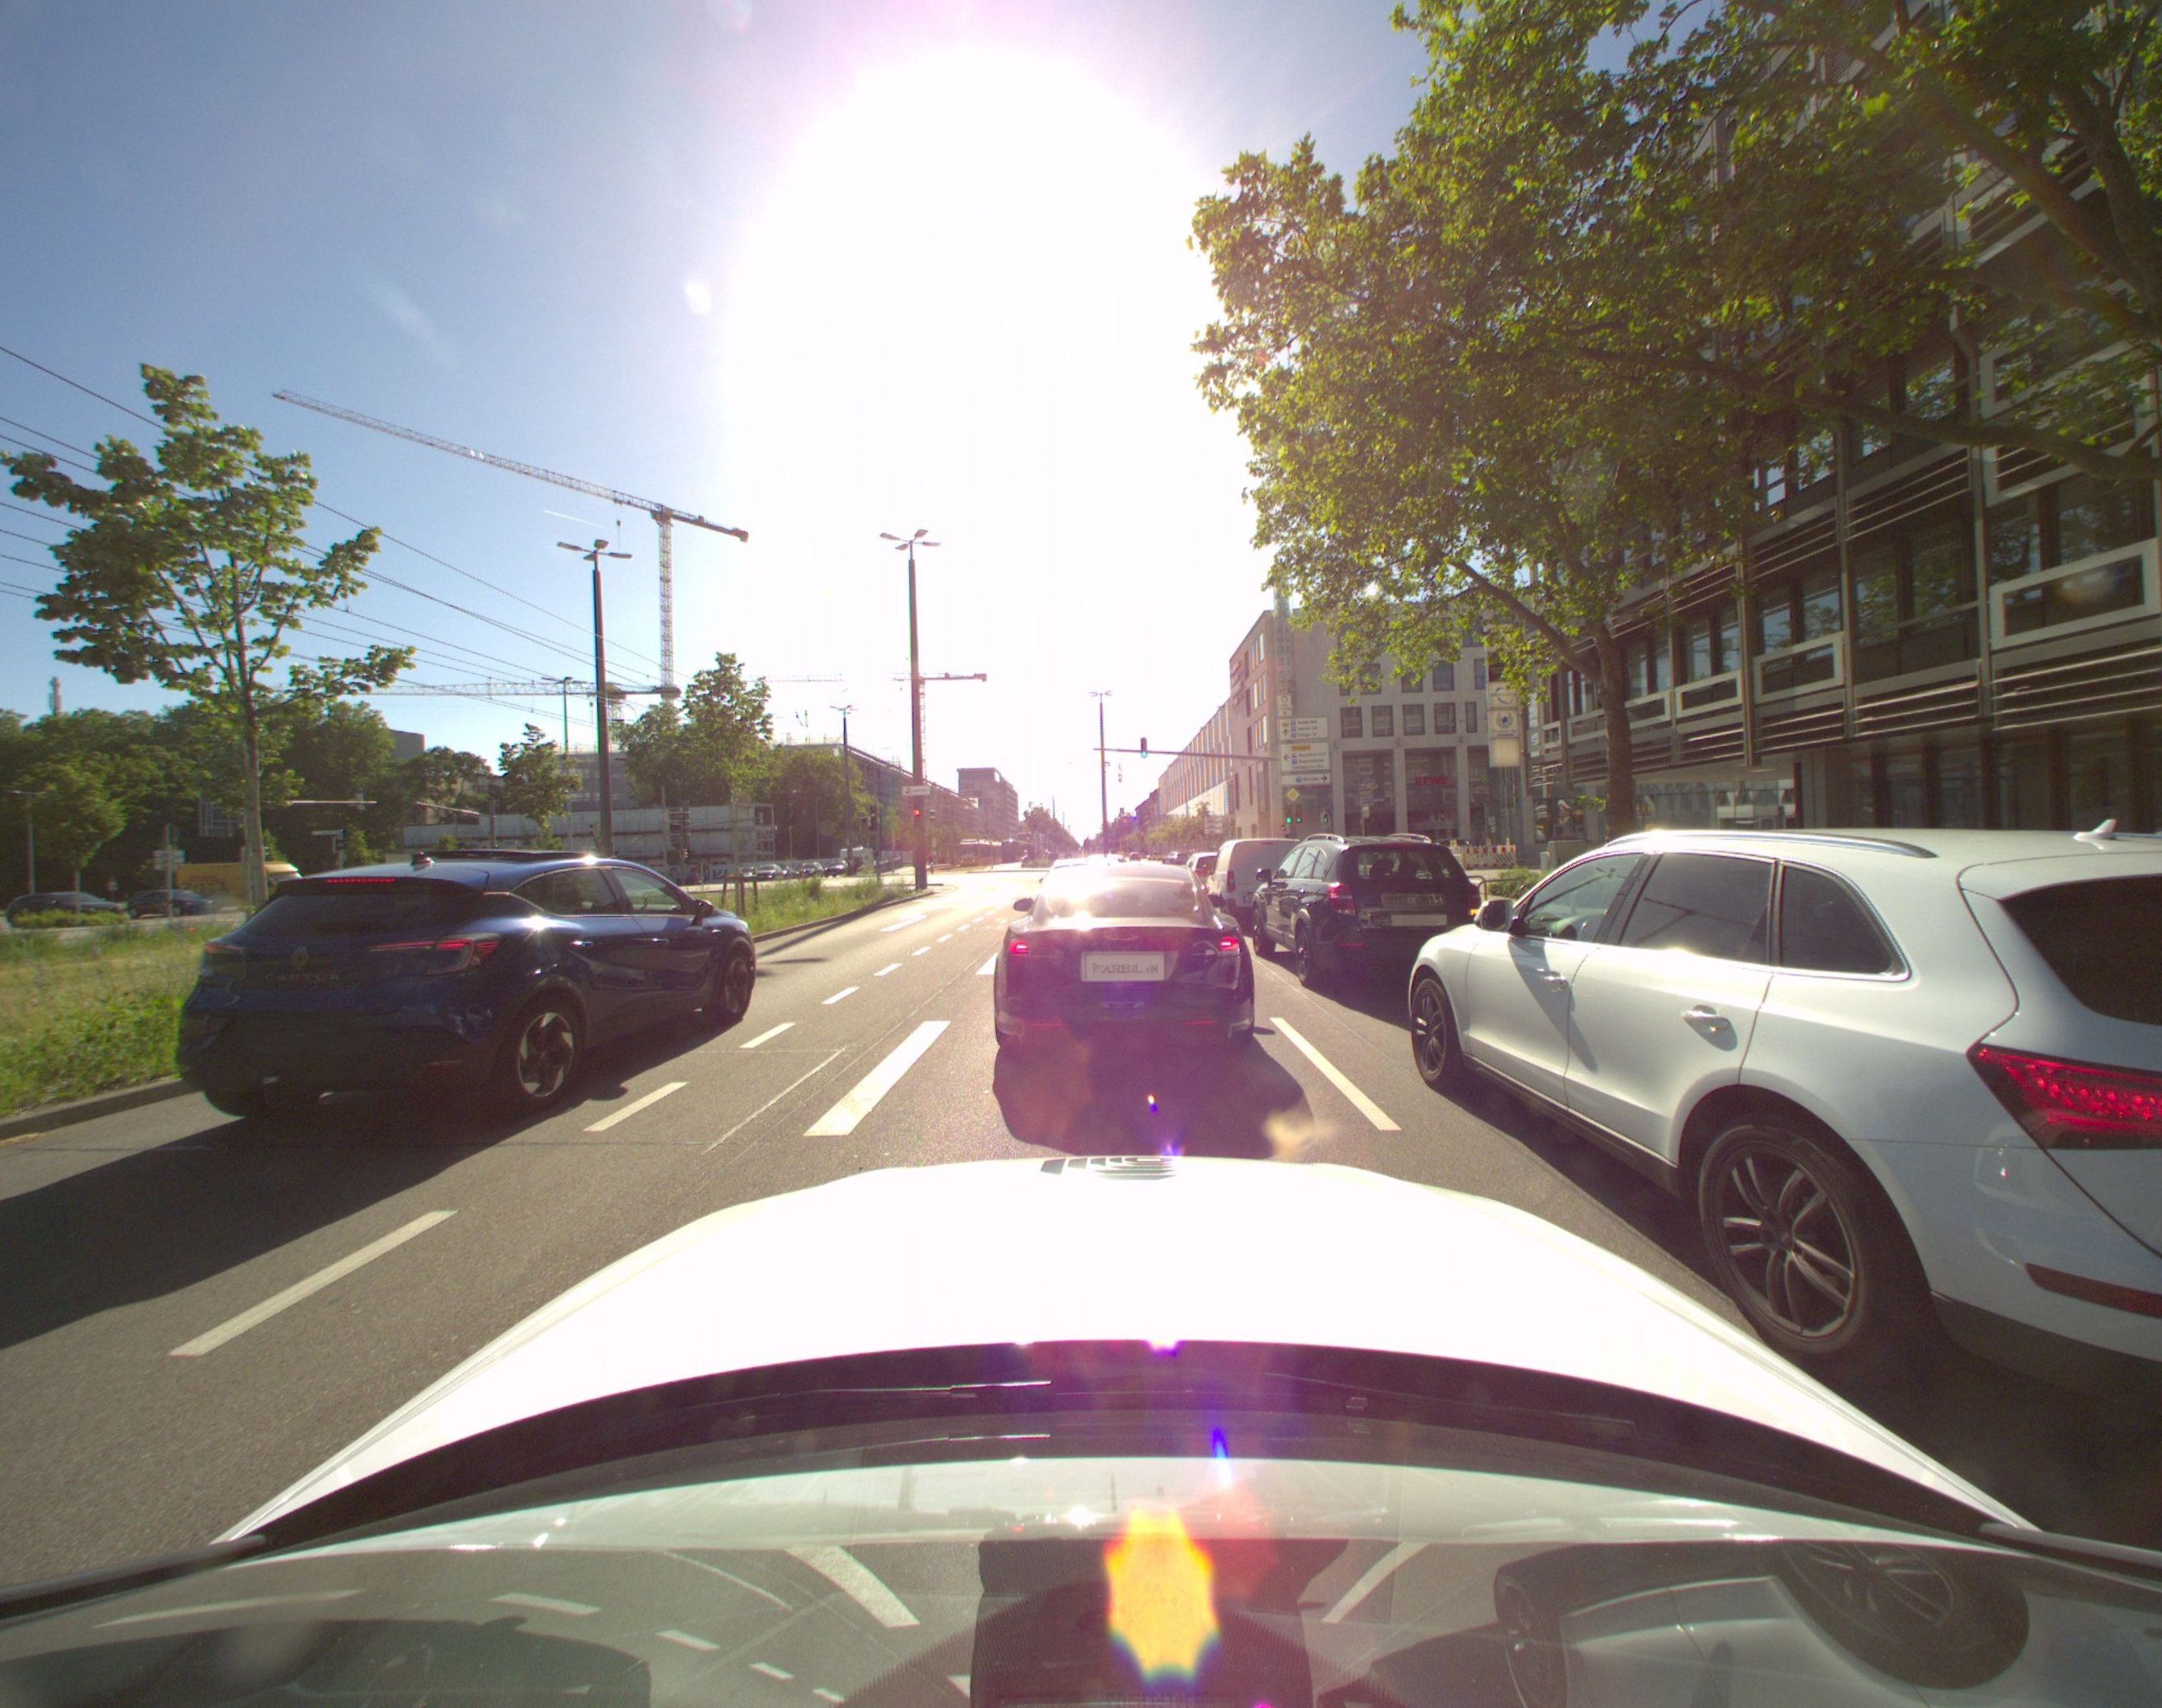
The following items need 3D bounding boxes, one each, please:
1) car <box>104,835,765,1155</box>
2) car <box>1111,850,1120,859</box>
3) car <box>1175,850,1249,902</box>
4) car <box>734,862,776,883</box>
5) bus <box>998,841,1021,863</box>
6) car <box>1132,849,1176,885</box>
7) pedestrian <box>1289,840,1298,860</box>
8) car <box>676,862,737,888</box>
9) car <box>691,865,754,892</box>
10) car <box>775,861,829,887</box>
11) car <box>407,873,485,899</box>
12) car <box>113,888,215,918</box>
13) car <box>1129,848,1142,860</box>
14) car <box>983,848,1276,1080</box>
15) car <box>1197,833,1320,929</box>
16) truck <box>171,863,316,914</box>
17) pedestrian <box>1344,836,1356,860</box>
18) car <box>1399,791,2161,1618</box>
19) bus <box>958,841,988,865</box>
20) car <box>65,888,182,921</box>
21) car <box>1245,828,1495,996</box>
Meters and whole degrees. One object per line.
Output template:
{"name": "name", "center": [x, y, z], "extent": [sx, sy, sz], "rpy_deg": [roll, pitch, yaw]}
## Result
{"name": "car", "center": [-4.129, 0.712, 6.267], "extent": [1.739, 1.622, 4.152], "rpy_deg": [-1, 0, 0]}
{"name": "car", "center": [7.414, 0.087, 176.845], "extent": [1.986, 2.014, 4.001], "rpy_deg": [0, -1, 2]}
{"name": "car", "center": [3.995, 0.627, 25.414], "extent": [1.715, 1.431, 4.188], "rpy_deg": [-2, 0, 2]}
{"name": "car", "center": [-26.626, 1.488, 66.660], "extent": [1.831, 1.612, 3.896], "rpy_deg": [0, -1, 1]}
{"name": "bus", "center": [-10.033, -0.233, 114.929], "extent": [2.620, 2.959, 9.893], "rpy_deg": [0, -1, -1]}
{"name": "car", "center": [3.173, 0.515, 36.051], "extent": [1.715, 1.431, 4.188], "rpy_deg": [-2, 0, 2]}
{"name": "pedestrian", "center": [15.324, -0.274, 58.740], "extent": [0.559, 1.440, 0.633], "rpy_deg": [0, -1, 8]}
{"name": "car", "center": [-17.798, 0.994, 38.803], "extent": [1.371, 1.178, 3.220], "rpy_deg": [0, -1, 1]}
{"name": "car", "center": [-16.273, 1.098, 37.116], "extent": [1.371, 1.178, 3.220], "rpy_deg": [0, -1, 1]}
{"name": "car", "center": [-13.035, 0.914, 38.157], "extent": [1.371, 1.178, 3.220], "rpy_deg": [0, -1, 1]}
{"name": "car", "center": [-39.979, 1.980, 51.401], "extent": [1.704, 1.556, 4.001], "rpy_deg": [0, -1, 2]}
{"name": "car", "center": [-49.865, 2.662, 44.326], "extent": [3.967, 1.439, 1.603], "rpy_deg": [-2, 0, 5]}
{"name": "car", "center": [9.113, 0.026, 136.451], "extent": [1.986, 2.014, 4.001], "rpy_deg": [0, -1, 2]}
{"name": "car", "center": [0.349, 0.716, 7.429], "extent": [1.905, 1.486, 4.010], "rpy_deg": [-2, 0, 1]}
{"name": "car", "center": [3.680, 0.499, 17.640], "extent": [1.716, 1.782, 4.186], "rpy_deg": [-2, 0, 0]}
{"name": "truck", "center": [-49.739, 2.004, 48.431], "extent": [6.930, 2.963, 2.003], "rpy_deg": [0, -1, 5]}
{"name": "pedestrian", "center": [15.967, -0.346, 48.355], "extent": [0.559, 1.440, 0.633], "rpy_deg": [0, -1, 8]}
{"name": "car", "center": [3.025, 0.644, 3.653], "extent": [1.714, 1.618, 4.190], "rpy_deg": [-2, 0, 3]}
{"name": "bus", "center": [-12.937, -0.035, 98.438], "extent": [2.620, 2.783, 8.839], "rpy_deg": [0, -1, -1]}
{"name": "car", "center": [-46.035, 2.402, 39.217], "extent": [3.504, 1.346, 1.642], "rpy_deg": [-2, 0, -3]}
{"name": "car", "center": [3.349, 0.574, 10.331], "extent": [1.715, 1.653, 4.187], "rpy_deg": [-2, 0, 1]}
